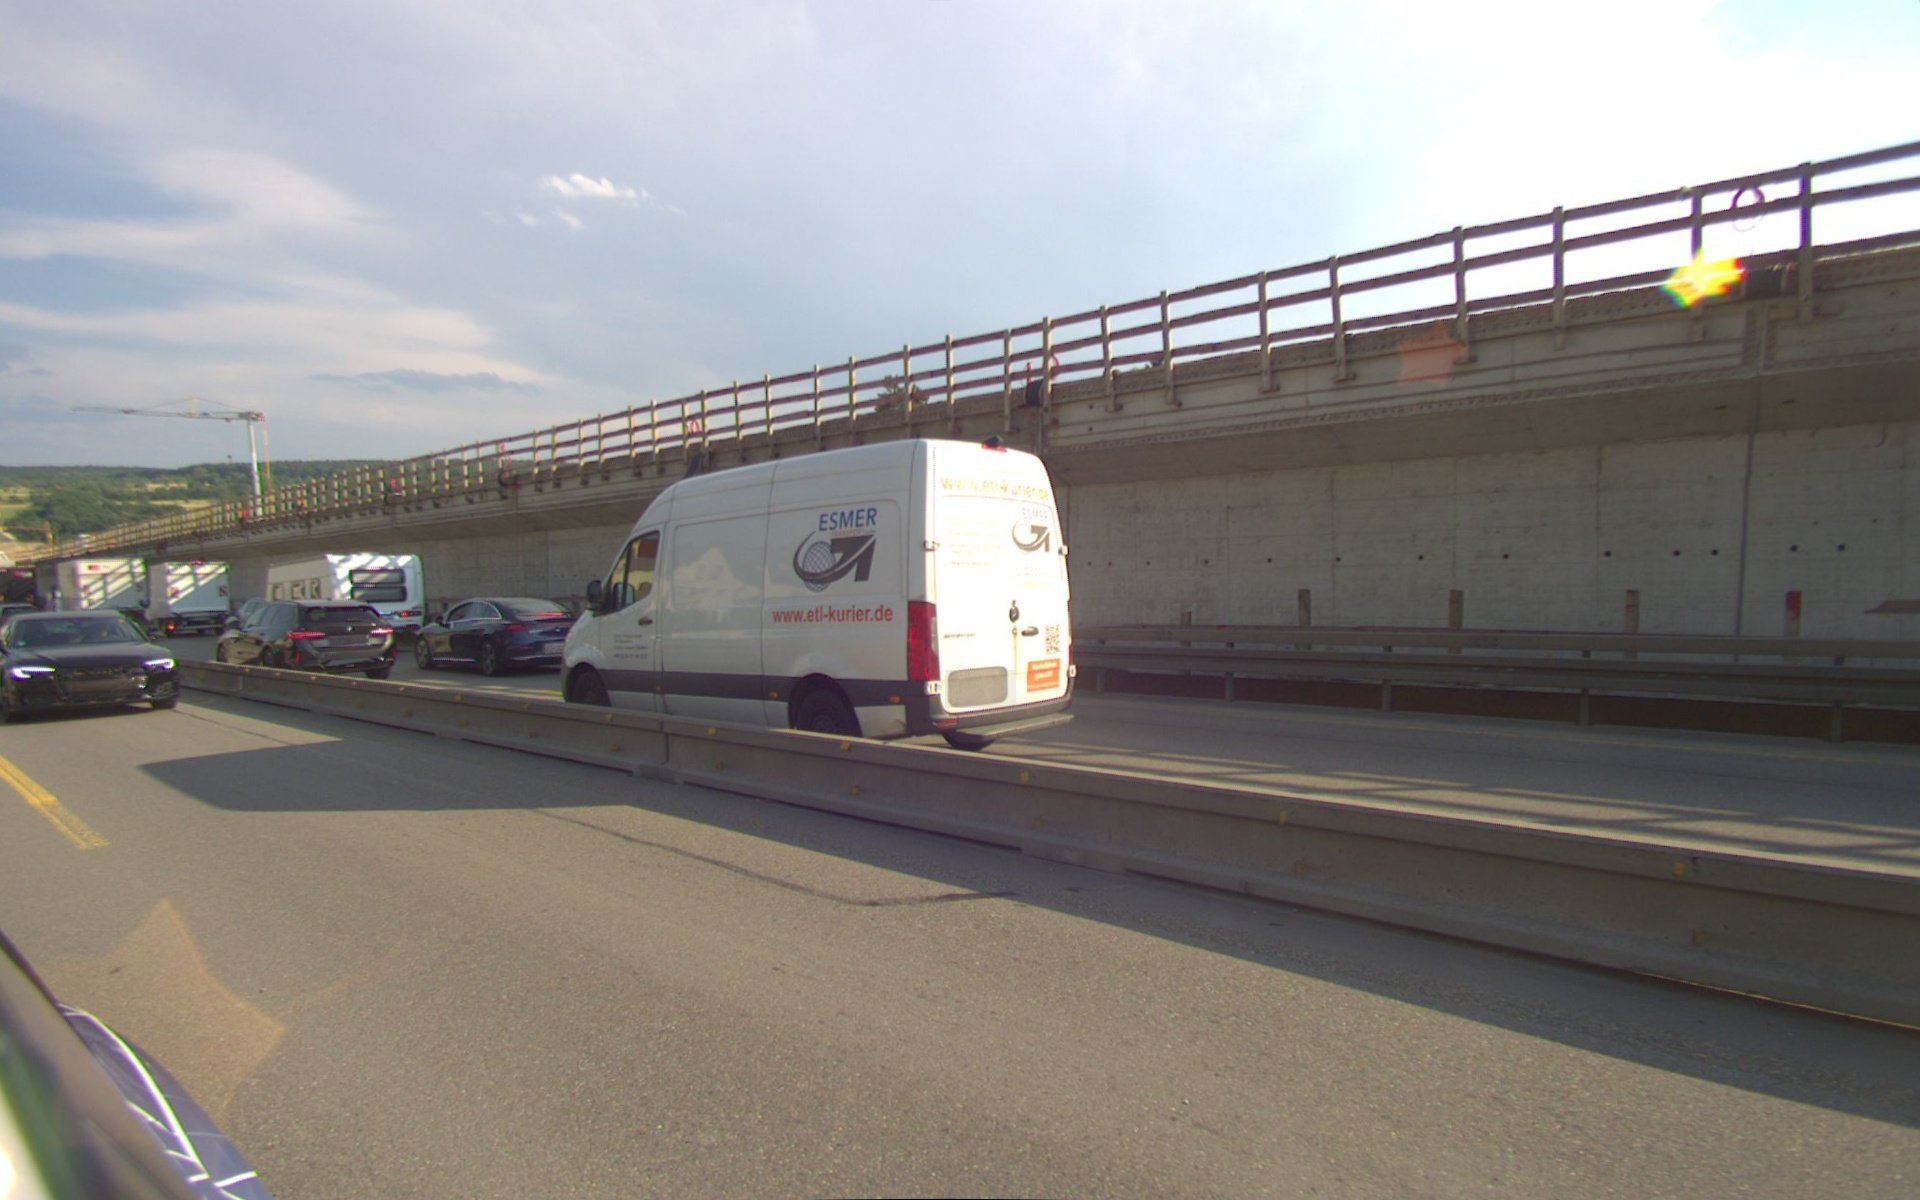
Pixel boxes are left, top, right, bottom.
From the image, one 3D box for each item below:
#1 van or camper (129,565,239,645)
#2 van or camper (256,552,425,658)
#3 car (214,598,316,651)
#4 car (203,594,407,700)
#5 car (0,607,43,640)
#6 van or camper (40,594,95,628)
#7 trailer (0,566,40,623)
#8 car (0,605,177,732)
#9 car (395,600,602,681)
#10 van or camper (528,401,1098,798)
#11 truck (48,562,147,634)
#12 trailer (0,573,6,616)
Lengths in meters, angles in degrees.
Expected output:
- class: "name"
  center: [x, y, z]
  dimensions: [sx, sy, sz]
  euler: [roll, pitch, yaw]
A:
- class: "van or camper"
  center: [-31.728, 0.149, 41.288]
  dimensions: [6.221, 3.011, 2.296]
  euler: [1, 2, 41]
- class: "van or camper"
  center: [-17.587, 0.104, 28.557]
  dimensions: [6.453, 2.682, 2.287]
  euler: [0, 1, 42]
- class: "car"
  center: [-22.607, 0.743, 32.847]
  dimensions: [4.782, 1.542, 1.623]
  euler: [0, 2, 42]
- class: "car"
  center: [-12.288, 0.758, 18.852]
  dimensions: [4.866, 1.605, 1.819]
  euler: [1, 4, 41]
- class: "car"
  center: [-46.242, 1.145, 49.342]
  dimensions: [4.457, 1.461, 1.746]
  euler: [-1, 3, 42]
- class: "van or camper"
  center: [-55.634, 0.653, 63.037]
  dimensions: [4.921, 1.936, 1.897]
  euler: [0, 4, 42]
- class: "trailer"
  center: [-77.852, -0.498, 82.516]
  dimensions: [13.771, 4.270, 2.882]
  euler: [1, 5, 43]
- class: "car"
  center: [-13.067, 0.873, 14.755]
  dimensions: [4.348, 1.429, 1.848]
  euler: [1, 4, 42]
- class: "car"
  center: [-9.434, 0.746, 20.499]
  dimensions: [4.897, 1.432, 1.952]
  euler: [-1, 0, 41]
- class: "van or camper"
  center: [-1.742, 0.014, 9.657]
  dimensions: [5.953, 2.727, 1.973]
  euler: [-1, 0, 41]
- class: "truck"
  center: [-44.066, -0.147, 51.613]
  dimensions: [8.138, 3.450, 2.686]
  euler: [1, 1, 42]
- class: "trailer"
  center: [-98.688, -0.380, 101.766]
  dimensions: [14.022, 4.171, 2.736]
  euler: [-1, 3, 42]
